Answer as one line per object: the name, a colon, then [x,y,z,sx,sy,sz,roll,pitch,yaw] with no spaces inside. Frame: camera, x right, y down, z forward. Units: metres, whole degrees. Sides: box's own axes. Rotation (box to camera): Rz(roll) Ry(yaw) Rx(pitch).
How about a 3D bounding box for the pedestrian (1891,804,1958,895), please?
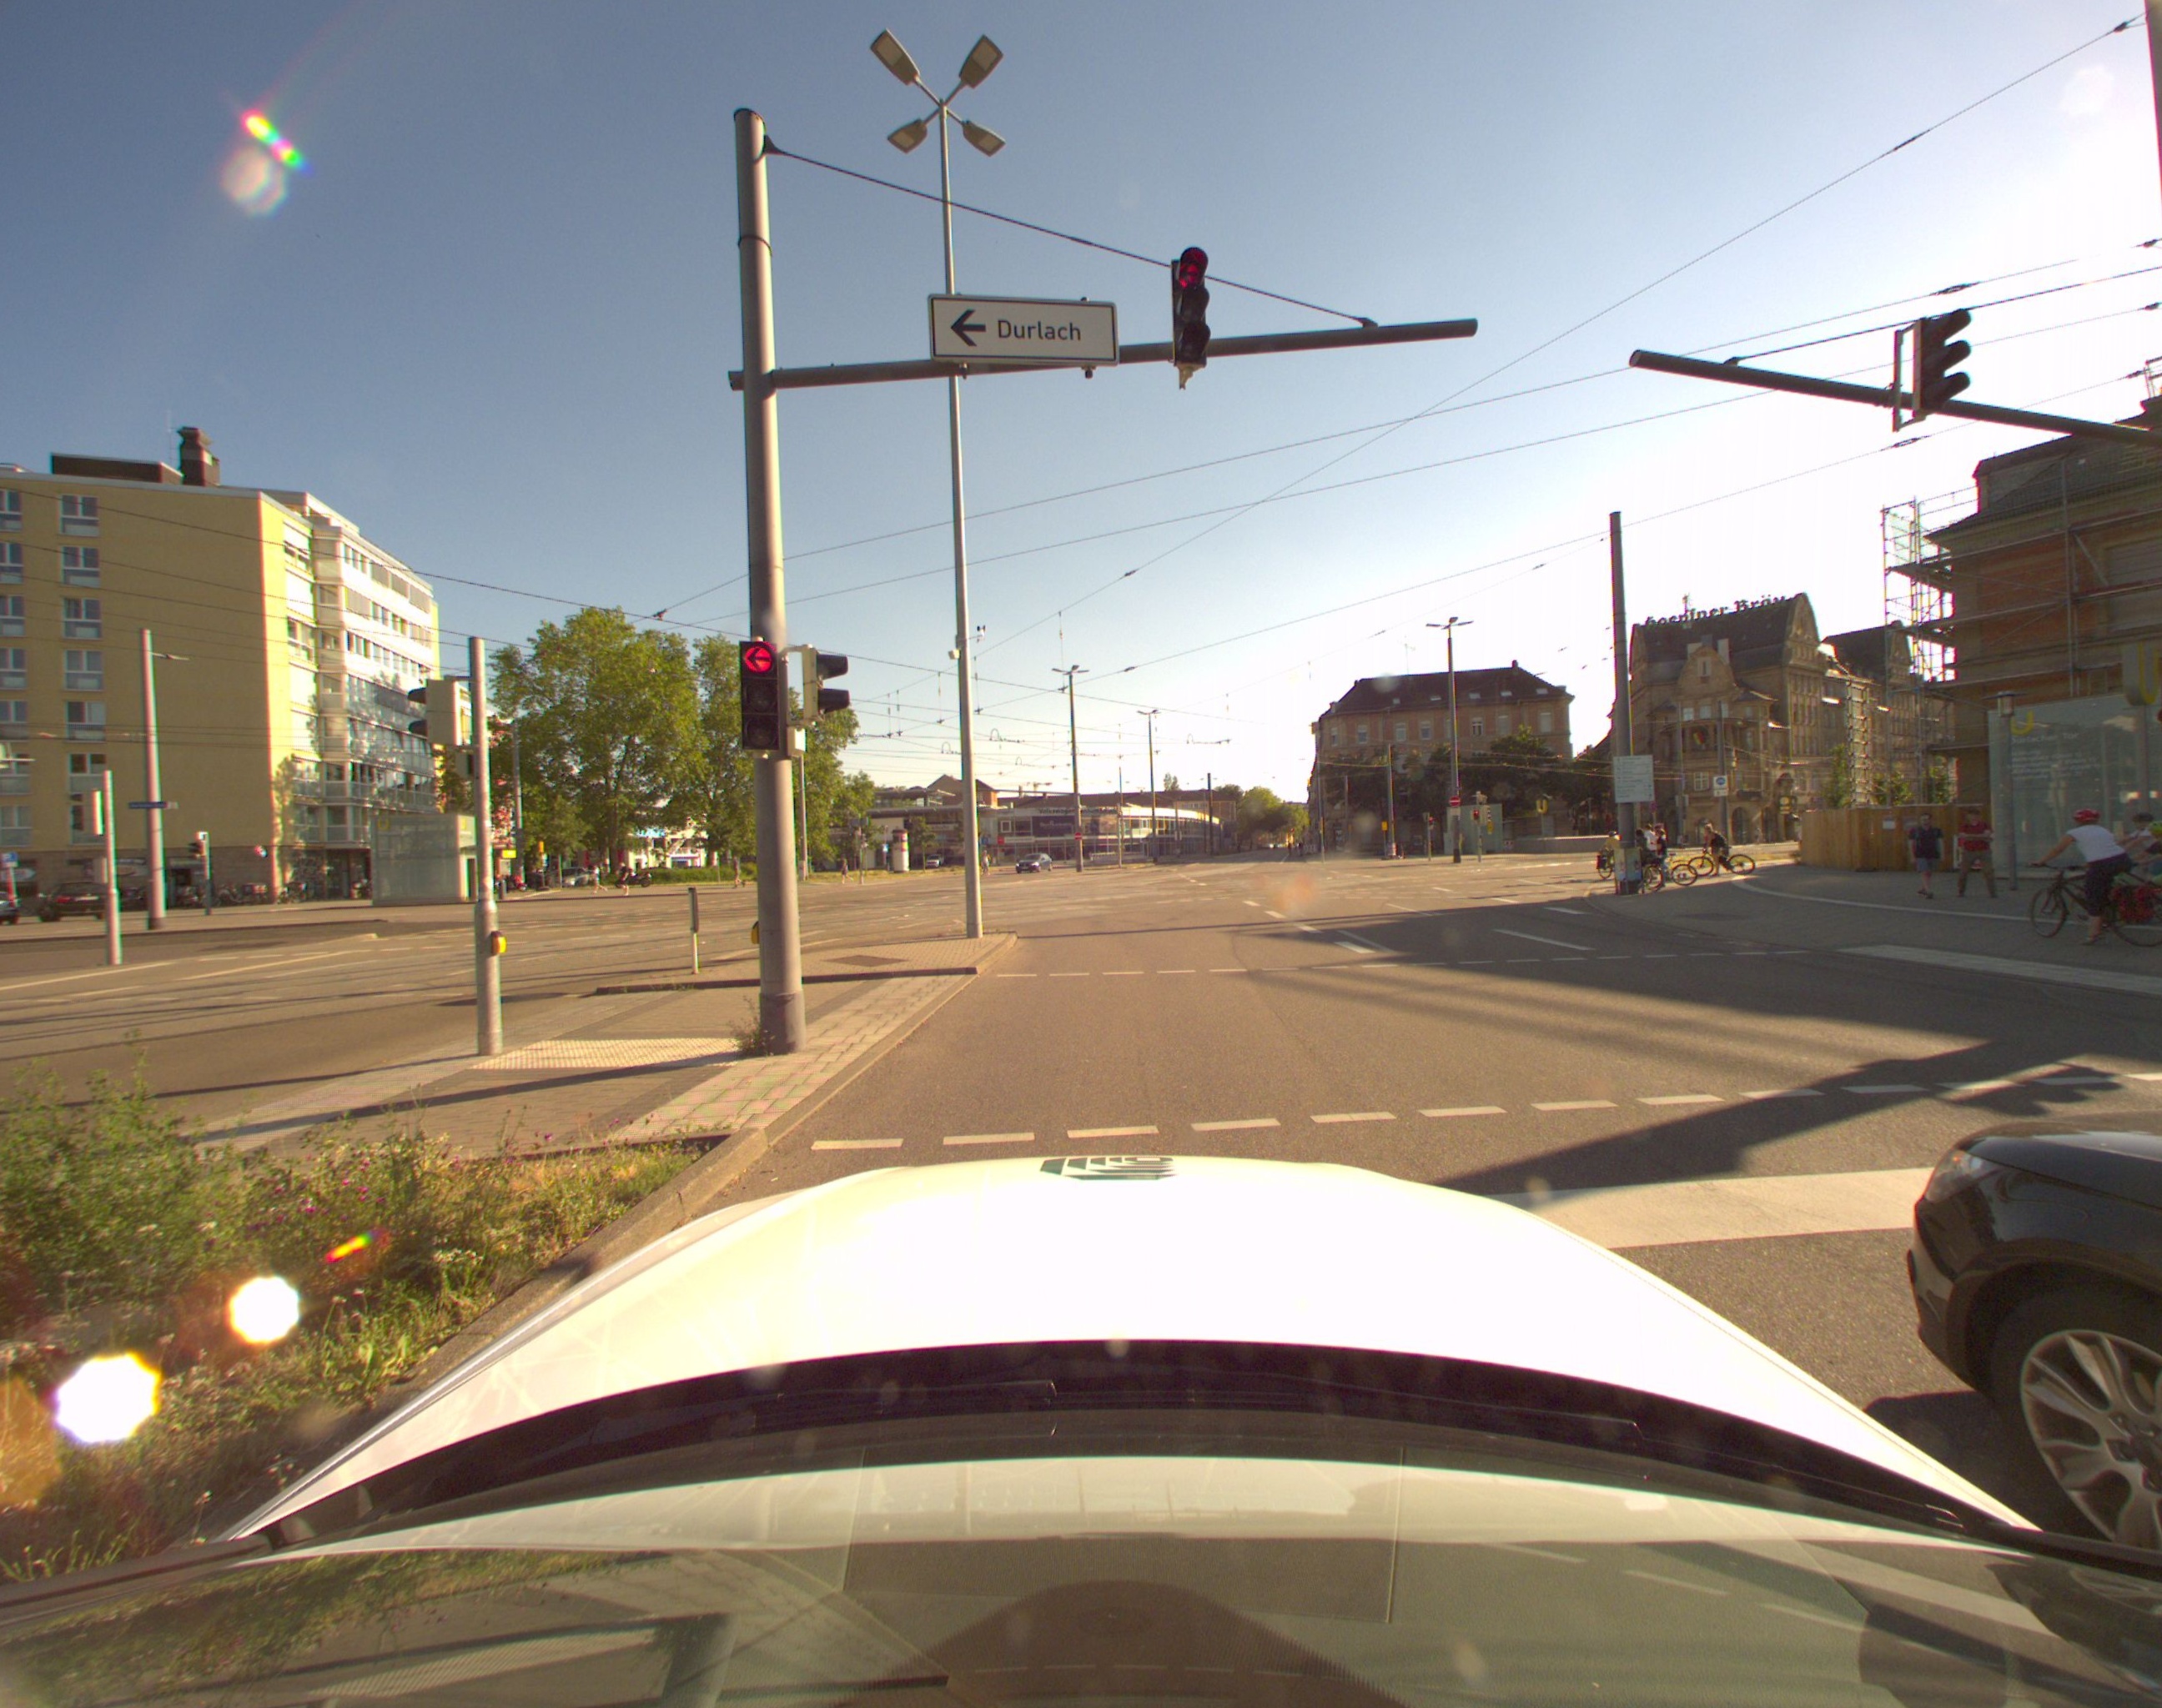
pedestrian: [17.375,-0.086,16.785,0.672,1.807,0.680,-3,0,-19]

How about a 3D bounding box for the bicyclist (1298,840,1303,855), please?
bicyclist: [24.942,-0.761,92.536,0.514,1.700,0.518,-1,-1,19]

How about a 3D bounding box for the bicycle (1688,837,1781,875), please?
bicycle: [21.313,0.073,26.617,2.290,1.049,0.539,-5,-1,36]

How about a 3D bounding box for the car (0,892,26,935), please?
car: [-47.021,2.557,34.899,3.948,1.706,2.013,-1,-1,35]

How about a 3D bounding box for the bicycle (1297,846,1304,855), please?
bicycle: [24.931,-0.396,92.435,0.652,0.952,1.607,-1,-1,17]

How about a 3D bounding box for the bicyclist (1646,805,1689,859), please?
bicyclist: [17.114,-0.628,23.783,0.935,1.557,0.715,-1,-1,32]

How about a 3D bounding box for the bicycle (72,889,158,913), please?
bicycle: [-50.306,2.433,42.429,3.041,1.151,0.637,0,-1,-16]

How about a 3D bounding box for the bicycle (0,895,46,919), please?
bicycle: [-54.625,2.678,41.170,3.041,1.151,0.637,0,-1,-16]

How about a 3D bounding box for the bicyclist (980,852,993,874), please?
bicyclist: [-6.991,0.646,60.173,0.593,1.615,0.827,-1,-1,19]

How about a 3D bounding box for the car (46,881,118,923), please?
car: [-44.215,2.066,36.027,3.948,1.706,1.730,-1,-1,35]

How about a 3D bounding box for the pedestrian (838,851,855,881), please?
pedestrian: [-15.038,0.759,52.202,0.790,1.886,0.760,-1,-1,9]

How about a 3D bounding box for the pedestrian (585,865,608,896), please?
pedestrian: [-27.136,1.487,45.645,0.790,1.706,0.760,-1,-1,9]

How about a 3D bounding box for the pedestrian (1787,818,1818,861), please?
pedestrian: [30.589,-0.622,34.532,0.646,1.814,0.689,0,-1,-6]

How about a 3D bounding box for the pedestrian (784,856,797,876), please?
pedestrian: [-24.762,0.984,69.429,0.854,1.694,0.497,0,-1,-1]

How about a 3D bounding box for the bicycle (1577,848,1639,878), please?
bicycle: [19.118,0.310,29.612,0.533,1.049,2.315,0,1,-6]

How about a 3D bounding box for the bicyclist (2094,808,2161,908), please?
bicyclist: [15.730,0.060,12.132,0.619,1.454,0.667,0,-1,-27]

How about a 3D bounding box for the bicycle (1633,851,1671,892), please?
bicycle: [15.951,0.468,22.787,0.692,1.049,2.335,0,1,31]

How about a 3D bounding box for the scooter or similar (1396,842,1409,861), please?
scooter or similar: [24.727,-0.179,62.688,0.780,1.376,1.916,-1,-1,16]

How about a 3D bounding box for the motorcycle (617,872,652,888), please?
motorcycle: [-27.265,1.574,49.768,1.779,0.914,0.675,0,-1,-19]

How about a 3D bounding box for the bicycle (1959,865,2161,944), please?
bicycle: [13.452,0.637,11.127,0.656,0.963,2.033,0,-1,-3]

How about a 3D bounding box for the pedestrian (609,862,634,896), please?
pedestrian: [-23.475,1.260,41.582,0.790,1.706,0.760,-1,-1,9]

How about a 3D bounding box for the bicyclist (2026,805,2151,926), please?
bicyclist: [13.461,0.146,10.906,0.664,1.553,0.794,0,-1,-3]

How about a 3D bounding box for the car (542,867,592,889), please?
car: [-37.307,1.715,59.251,1.772,1.567,3.983,0,-1,-12]

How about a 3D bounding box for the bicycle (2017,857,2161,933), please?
bicycle: [14.480,0.545,11.240,0.657,0.963,2.033,-4,0,-3]

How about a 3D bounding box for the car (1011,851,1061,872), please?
car: [-3.400,0.560,61.992,1.975,1.585,4.024,-1,-1,29]

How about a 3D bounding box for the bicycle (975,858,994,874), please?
bicycle: [-7.064,0.864,59.969,0.607,1.189,1.878,-1,-1,19]

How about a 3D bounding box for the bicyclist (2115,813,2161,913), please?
bicyclist: [14.499,0.117,10.839,0.614,1.315,0.673,0,-1,-3]

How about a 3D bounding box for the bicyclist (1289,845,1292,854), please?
bicyclist: [24.574,-0.545,95.526,0.405,1.116,0.400,-1,-1,13]

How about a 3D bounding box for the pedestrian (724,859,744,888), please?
pedestrian: [-20.548,1.169,48.272,0.790,1.706,0.760,-1,-1,9]

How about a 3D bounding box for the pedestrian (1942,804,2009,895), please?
pedestrian: [18.145,-0.088,16.525,0.672,1.807,0.680,0,-1,-19]

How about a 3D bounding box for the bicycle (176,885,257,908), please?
bicycle: [-46.254,2.249,43.595,3.041,1.151,0.637,0,-1,-16]

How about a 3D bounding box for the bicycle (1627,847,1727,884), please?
bicycle: [17.280,0.338,23.675,2.290,1.049,0.705,-1,-1,32]

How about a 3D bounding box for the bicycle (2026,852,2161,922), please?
bicycle: [15.713,0.479,12.132,0.661,0.963,2.018,-4,1,-25]

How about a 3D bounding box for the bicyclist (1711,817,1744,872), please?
bicyclist: [21.197,-0.309,26.711,0.785,1.779,0.526,-1,-1,37]

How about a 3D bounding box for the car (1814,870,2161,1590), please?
car: [2.896,0.735,0.364,1.617,1.404,4.001,0,0,2]

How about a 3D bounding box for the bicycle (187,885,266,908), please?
bicycle: [-46.379,2.317,44.256,3.041,1.151,0.637,0,-1,-16]

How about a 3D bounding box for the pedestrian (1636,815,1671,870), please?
pedestrian: [21.441,-0.420,30.512,0.730,2.014,0.760,0,-1,-6]

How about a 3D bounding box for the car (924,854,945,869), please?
car: [-17.973,0.919,99.939,1.988,1.750,3.997,0,-1,-1]

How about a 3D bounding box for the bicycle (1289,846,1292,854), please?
bicycle: [24.542,-0.446,95.401,0.407,0.941,1.852,-1,-1,15]

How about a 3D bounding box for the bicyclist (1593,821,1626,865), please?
bicyclist: [19.125,-0.380,29.502,0.514,1.557,0.945,0,-1,-7]

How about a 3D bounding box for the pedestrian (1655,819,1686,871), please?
pedestrian: [22.130,-0.334,30.588,0.646,1.922,0.689,0,-1,-6]

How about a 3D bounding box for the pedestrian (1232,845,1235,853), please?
pedestrian: [36.510,-1.184,195.005,0.713,2.014,0.758,0,-1,3]

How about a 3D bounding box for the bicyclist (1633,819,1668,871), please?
bicyclist: [15.978,-0.240,22.856,0.701,1.439,0.953,-1,-1,30]
